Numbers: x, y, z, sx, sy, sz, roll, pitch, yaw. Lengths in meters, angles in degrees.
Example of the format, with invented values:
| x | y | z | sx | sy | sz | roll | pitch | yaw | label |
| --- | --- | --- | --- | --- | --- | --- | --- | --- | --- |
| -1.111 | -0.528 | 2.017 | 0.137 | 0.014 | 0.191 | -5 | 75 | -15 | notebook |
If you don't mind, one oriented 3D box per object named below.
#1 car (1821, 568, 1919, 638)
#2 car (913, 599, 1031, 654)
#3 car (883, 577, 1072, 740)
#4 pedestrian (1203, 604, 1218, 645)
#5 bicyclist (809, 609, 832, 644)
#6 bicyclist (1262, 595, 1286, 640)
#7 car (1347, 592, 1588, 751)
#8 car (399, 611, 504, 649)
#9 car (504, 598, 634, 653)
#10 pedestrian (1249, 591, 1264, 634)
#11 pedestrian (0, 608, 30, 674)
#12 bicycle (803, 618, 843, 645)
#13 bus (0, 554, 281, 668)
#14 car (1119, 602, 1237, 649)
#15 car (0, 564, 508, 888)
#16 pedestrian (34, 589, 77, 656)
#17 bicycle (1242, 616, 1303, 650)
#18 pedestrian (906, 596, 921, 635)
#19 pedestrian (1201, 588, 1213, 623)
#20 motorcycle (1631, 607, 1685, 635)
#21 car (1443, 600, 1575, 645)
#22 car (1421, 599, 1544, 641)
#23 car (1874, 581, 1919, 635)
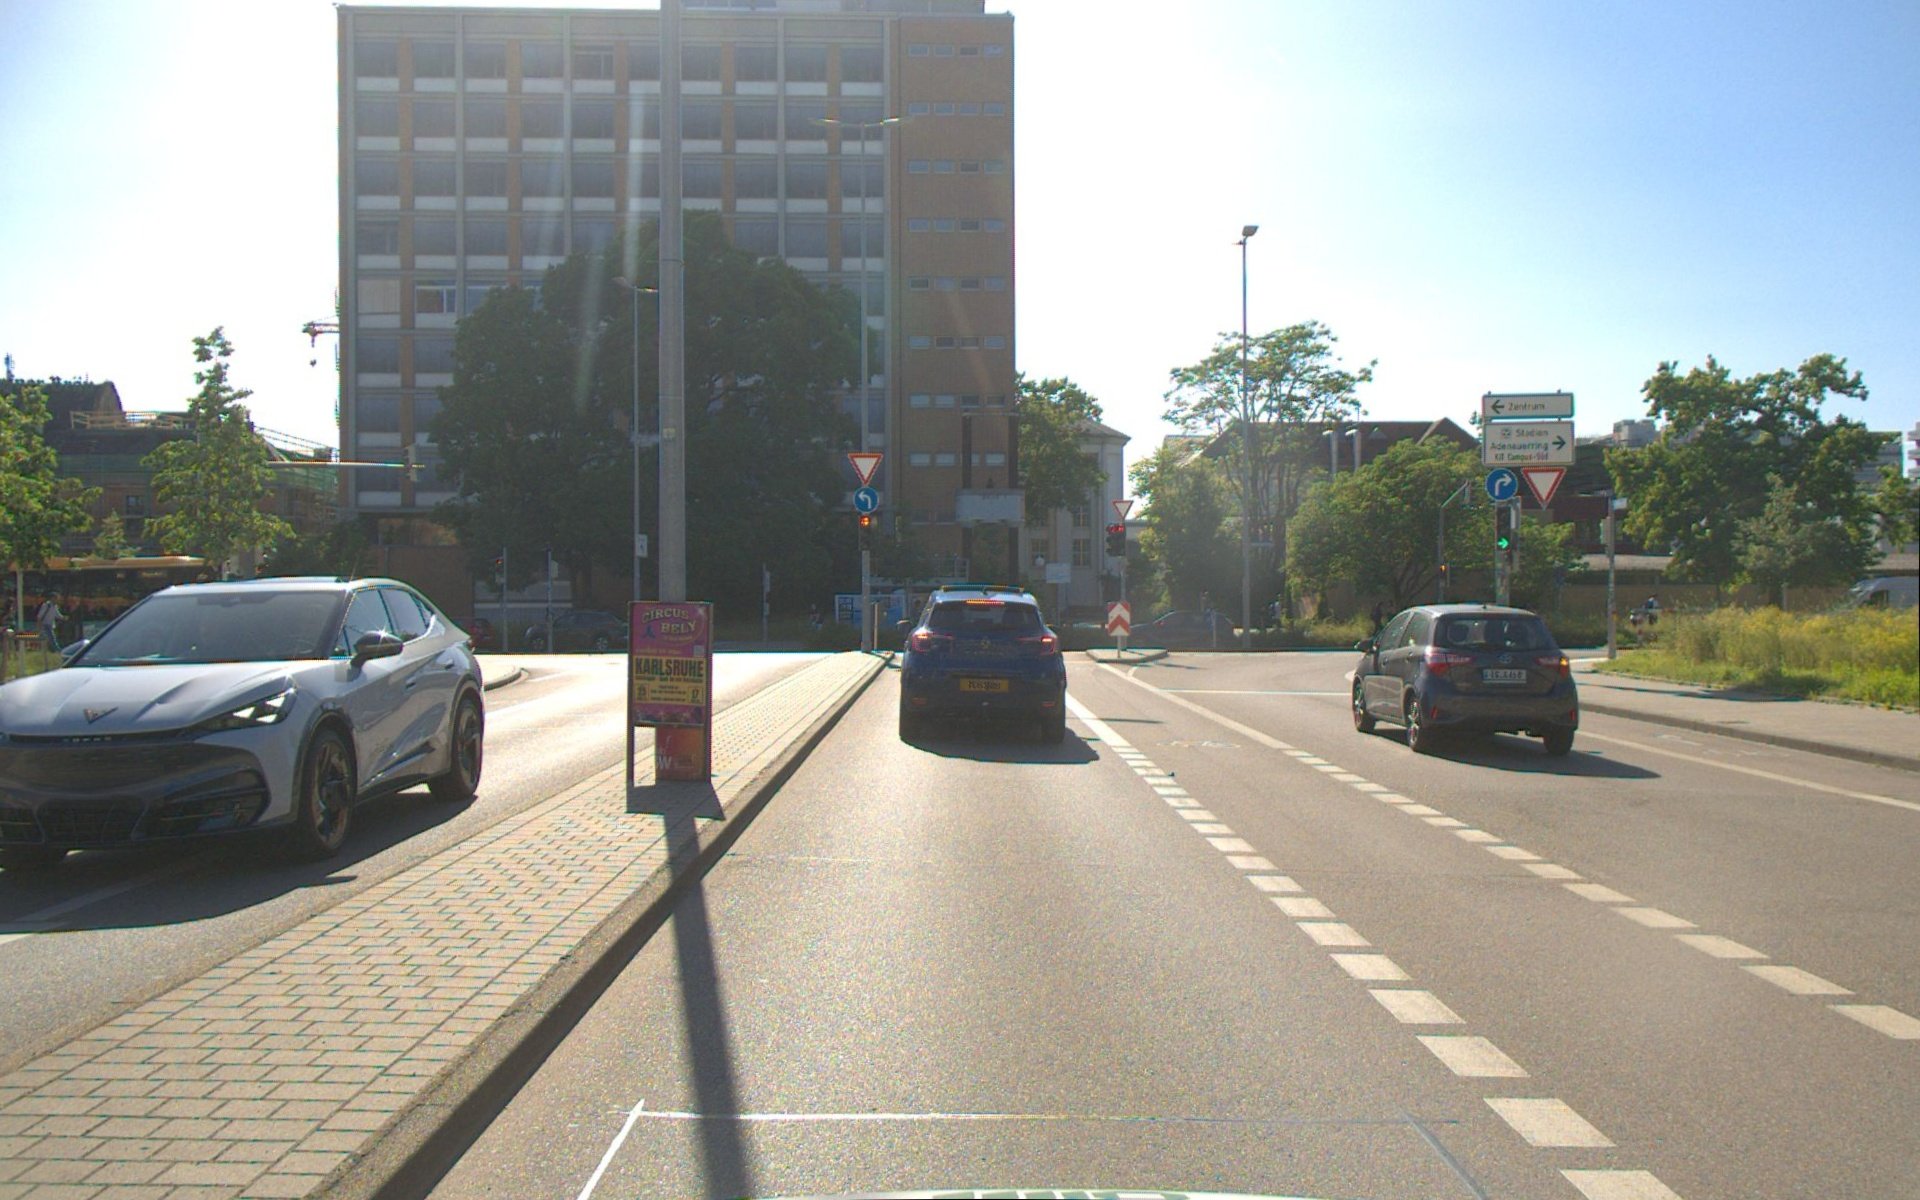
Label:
| x | y | z | sx | sy | sz | roll | pitch | yaw | label |
| --- | --- | --- | --- | --- | --- | --- | --- | --- | --- |
| 34.930 | 0.088 | 59.352 | 7.007 | 2.465 | 2.074 | 0 | 0 | 0 | car |
| 0.478 | 1.026 | 63.307 | 4.255 | 2.049 | 2.001 | 0 | -2 | 9 | car |
| 0.099 | 0.612 | 18.607 | 1.787 | 1.628 | 3.655 | 1 | -1 | -5 | car |
| 10.441 | 1.017 | 68.895 | 0.548 | 1.699 | 0.477 | 0 | -2 | 15 | pedestrian |
| -5.900 | 1.110 | 69.937 | 0.810 | 1.469 | 0.612 | 0 | 0 | -37 | bicyclist |
| 13.191 | 0.761 | 69.572 | 0.838 | 1.879 | 0.851 | -1 | -2 | 22 | bicyclist |
| 5.503 | 0.747 | 18.371 | 1.719 | 1.569 | 3.660 | 0 | -1 | 3 | car |
| -21.542 | 1.281 | 70.114 | 3.812 | 1.614 | 1.881 | 0 | -2 | 15 | car |
| -14.726 | 0.967 | 62.393 | 4.278 | 2.049 | 2.001 | 0 | -2 | 9 | car |
| 12.019 | 0.512 | 67.019 | 0.544 | 1.699 | 0.477 | 0 | -2 | 15 | pedestrian |
| -26.046 | 1.119 | 45.269 | 0.640 | 1.772 | 0.788 | 0 | -2 | 16 | pedestrian |
| -5.806 | 1.344 | 70.007 | 1.654 | 1.112 | 0.602 | 0 | 0 | -38 | bicycle |
| -27.996 | 0.400 | 53.523 | 12.145 | 3.456 | 2.883 | 0 | -2 | 18 | bus |
| 7.766 | 0.910 | 58.733 | 4.027 | 1.614 | 1.881 | 0 | -2 | 11 | car |
| -4.353 | 0.633 | 10.567 | 1.781 | 1.596 | 4.249 | -2 | 0 | -1 | car |
| -24.200 | 0.619 | 44.251 | 0.611 | 1.772 | 0.788 | 0 | -2 | 16 | pedestrian |
| 13.147 | 1.398 | 69.557 | 2.401 | 1.394 | 0.851 | 0 | -2 | 22 | bicycle |
| -2.029 | 0.696 | 72.269 | 0.548 | 1.699 | 0.477 | 0 | -2 | 15 | pedestrian |
| 12.186 | 0.288 | 81.650 | 0.564 | 1.699 | 0.562 | 0 | -2 | 10 | pedestrian |
| 28.382 | 0.856 | 67.265 | 2.006 | 1.156 | 0.670 | 0 | -2 | 22 | motorcycle |
| 18.505 | 0.744 | 55.914 | 3.902 | 1.490 | 2.001 | 0 | -1 | 7 | car |
| 18.744 | 0.700 | 59.446 | 3.902 | 1.489 | 2.001 | 0 | 0 | 7 | car |
| 33.860 | 0.249 | 55.896 | 4.750 | 1.777 | 2.075 | 0 | 0 | 5 | car |
